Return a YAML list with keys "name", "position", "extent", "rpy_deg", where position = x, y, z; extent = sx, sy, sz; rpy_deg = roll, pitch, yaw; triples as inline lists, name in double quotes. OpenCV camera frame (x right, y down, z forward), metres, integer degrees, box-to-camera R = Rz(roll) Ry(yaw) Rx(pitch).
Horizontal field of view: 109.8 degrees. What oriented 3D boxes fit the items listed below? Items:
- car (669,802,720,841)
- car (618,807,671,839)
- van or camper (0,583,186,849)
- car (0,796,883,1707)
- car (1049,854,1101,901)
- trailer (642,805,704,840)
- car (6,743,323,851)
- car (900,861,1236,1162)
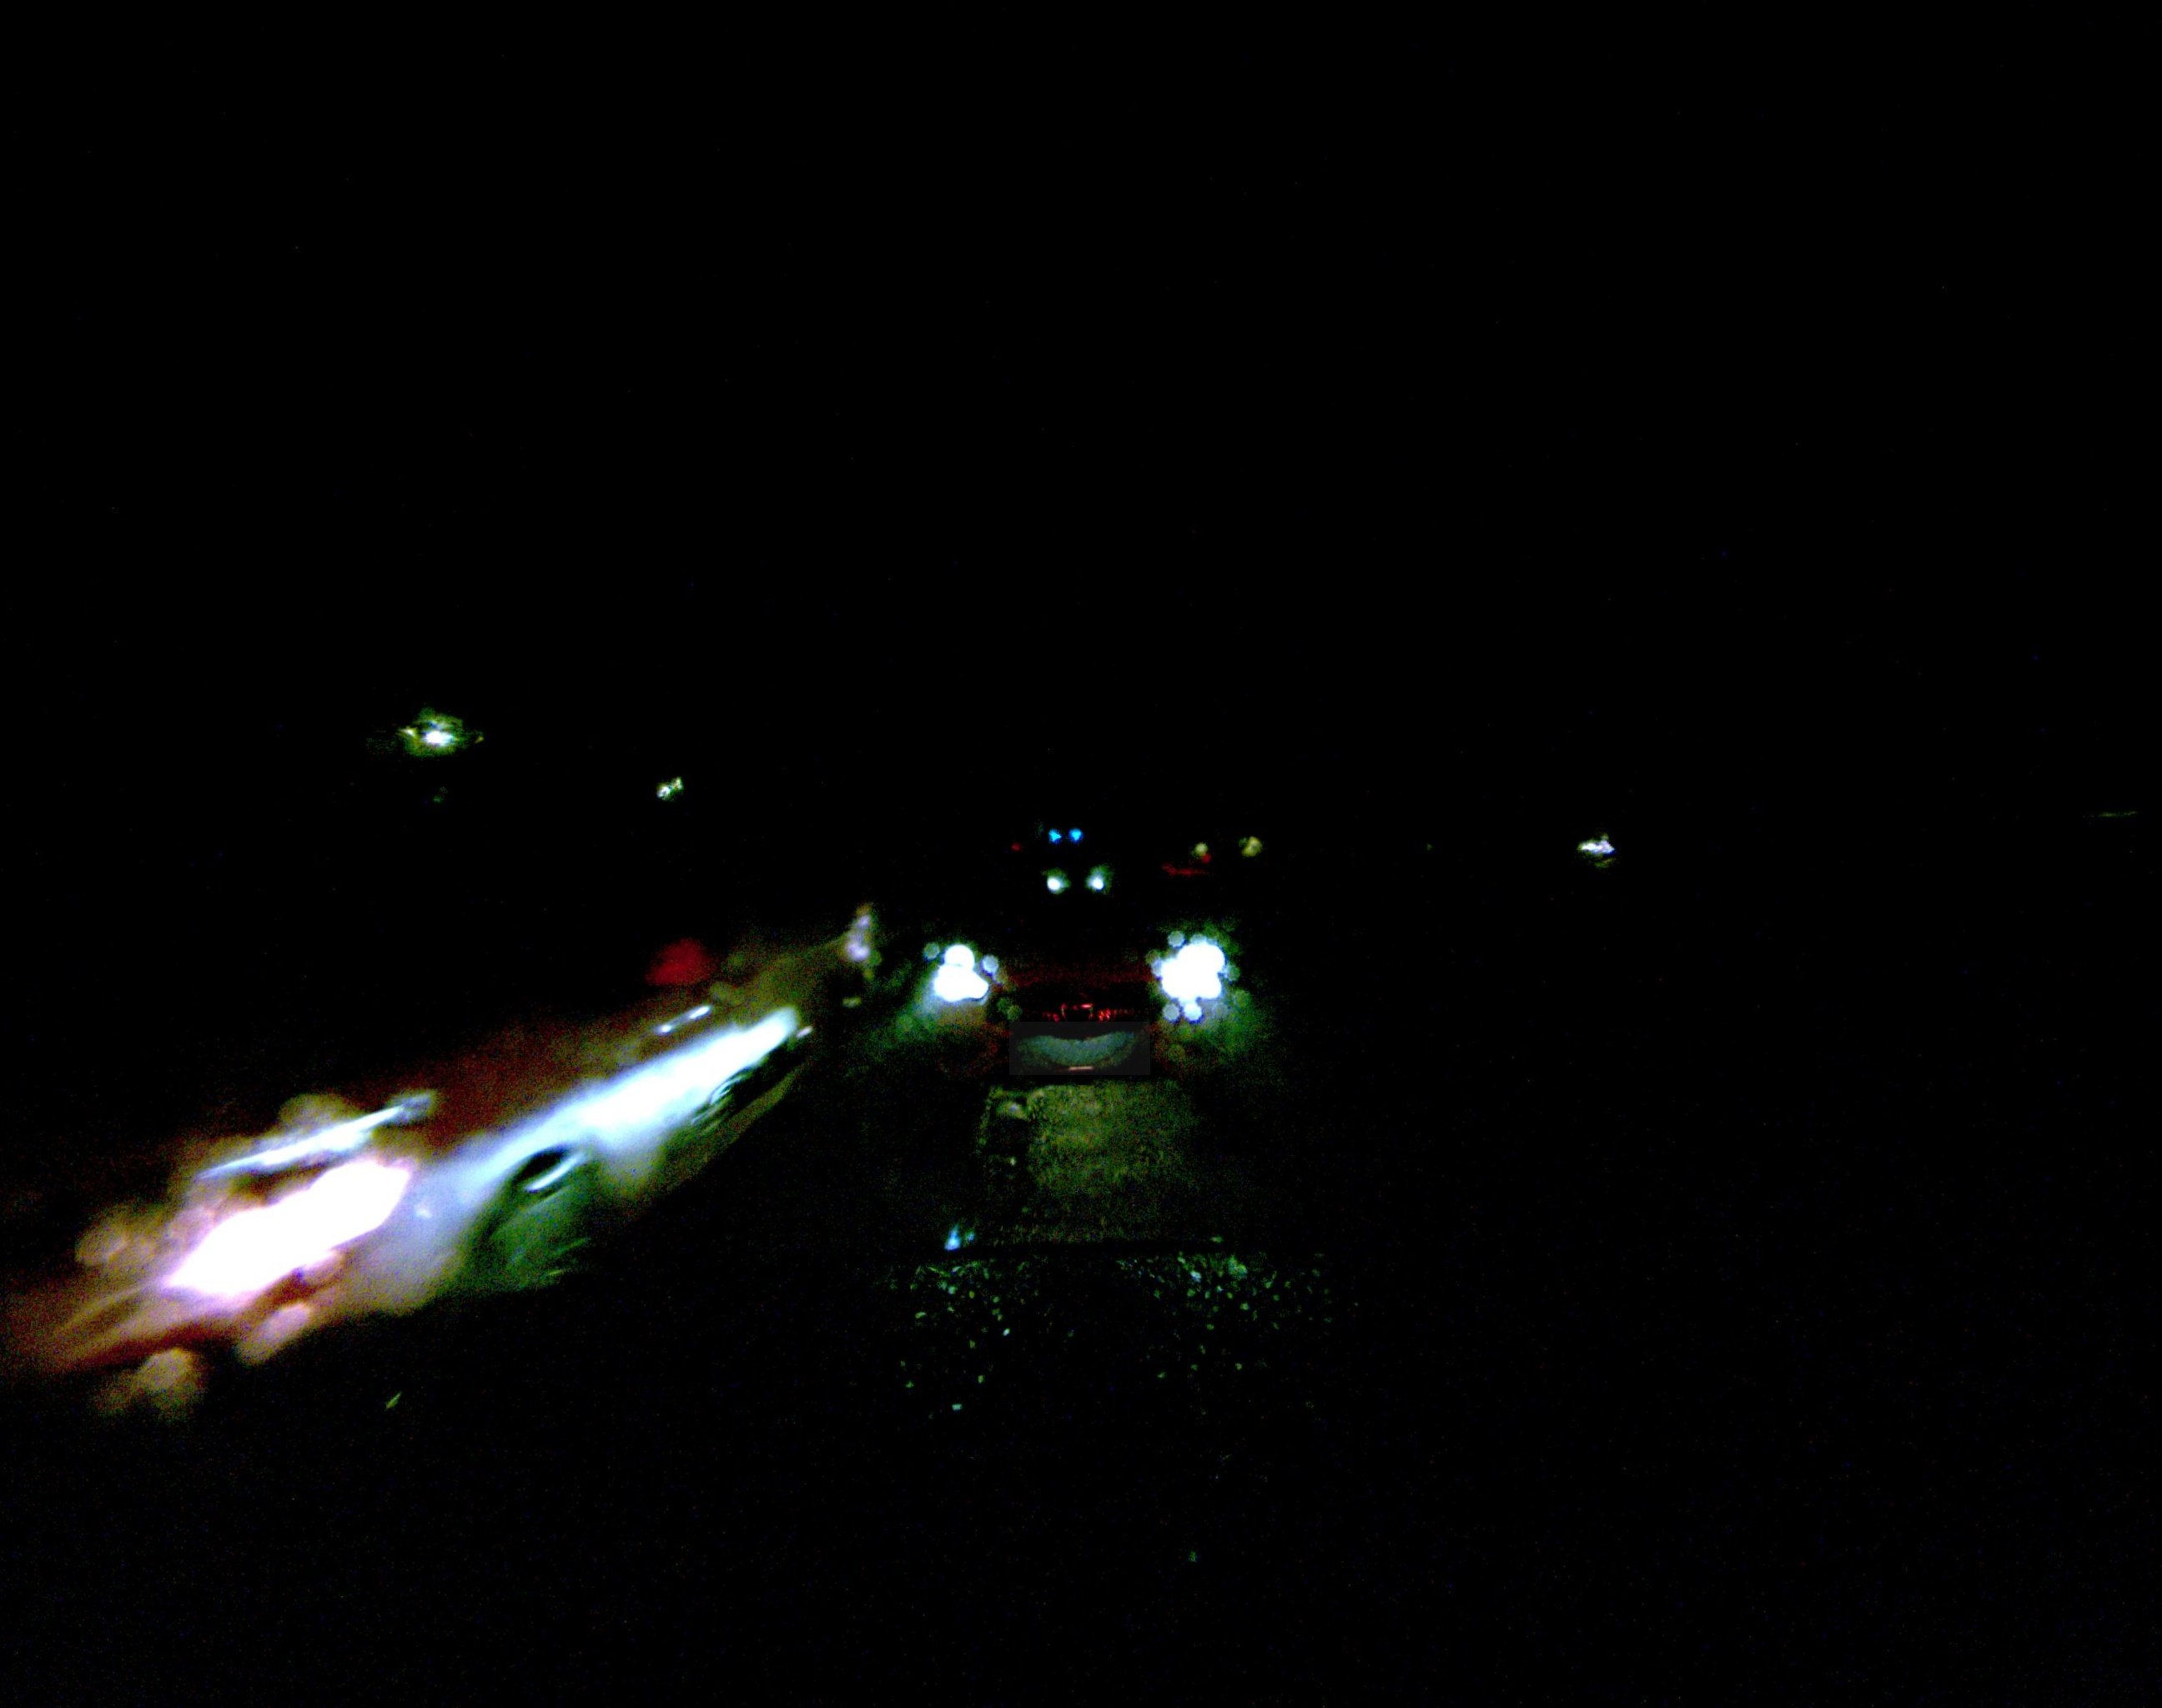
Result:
- name: "car"
  position: [-28.058, -2.295, 55.372]
  extent: [2.122, 2.620, 5.443]
  rpy_deg: [-1, 1, -14]
- name: "car"
  position: [-24.518, -1.715, 42.798]
  extent: [1.619, 1.630, 3.994]
  rpy_deg: [-2, 1, -16]
- name: "van or camper"
  position: [-12.953, -1.539, 7.357]
  extent: [2.591, 2.891, 6.348]
  rpy_deg: [-1, 0, -19]
- name: "car"
  position: [-2.520, 0.845, 3.575]
  extent: [1.759, 1.807, 4.710]
  rpy_deg: [-2, 0, 2]
- name: "car"
  position: [-0.241, 0.764, 26.054]
  extent: [1.625, 1.477, 3.785]
  rpy_deg: [-1, -1, -2]
- name: "trailer"
  position: [-26.693, -1.999, 49.975]
  extent: [2.234, 2.060, 5.713]
  rpy_deg: [-1, 0, -14]
- name: "car"
  position: [-16.208, -0.897, 13.819]
  extent: [1.642, 1.608, 4.128]
  rpy_deg: [-2, 0, -17]
- name: "car"
  position: [-0.087, 0.883, 6.539]
  extent: [1.810, 1.590, 4.786]
  rpy_deg: [-1, 0, 0]
